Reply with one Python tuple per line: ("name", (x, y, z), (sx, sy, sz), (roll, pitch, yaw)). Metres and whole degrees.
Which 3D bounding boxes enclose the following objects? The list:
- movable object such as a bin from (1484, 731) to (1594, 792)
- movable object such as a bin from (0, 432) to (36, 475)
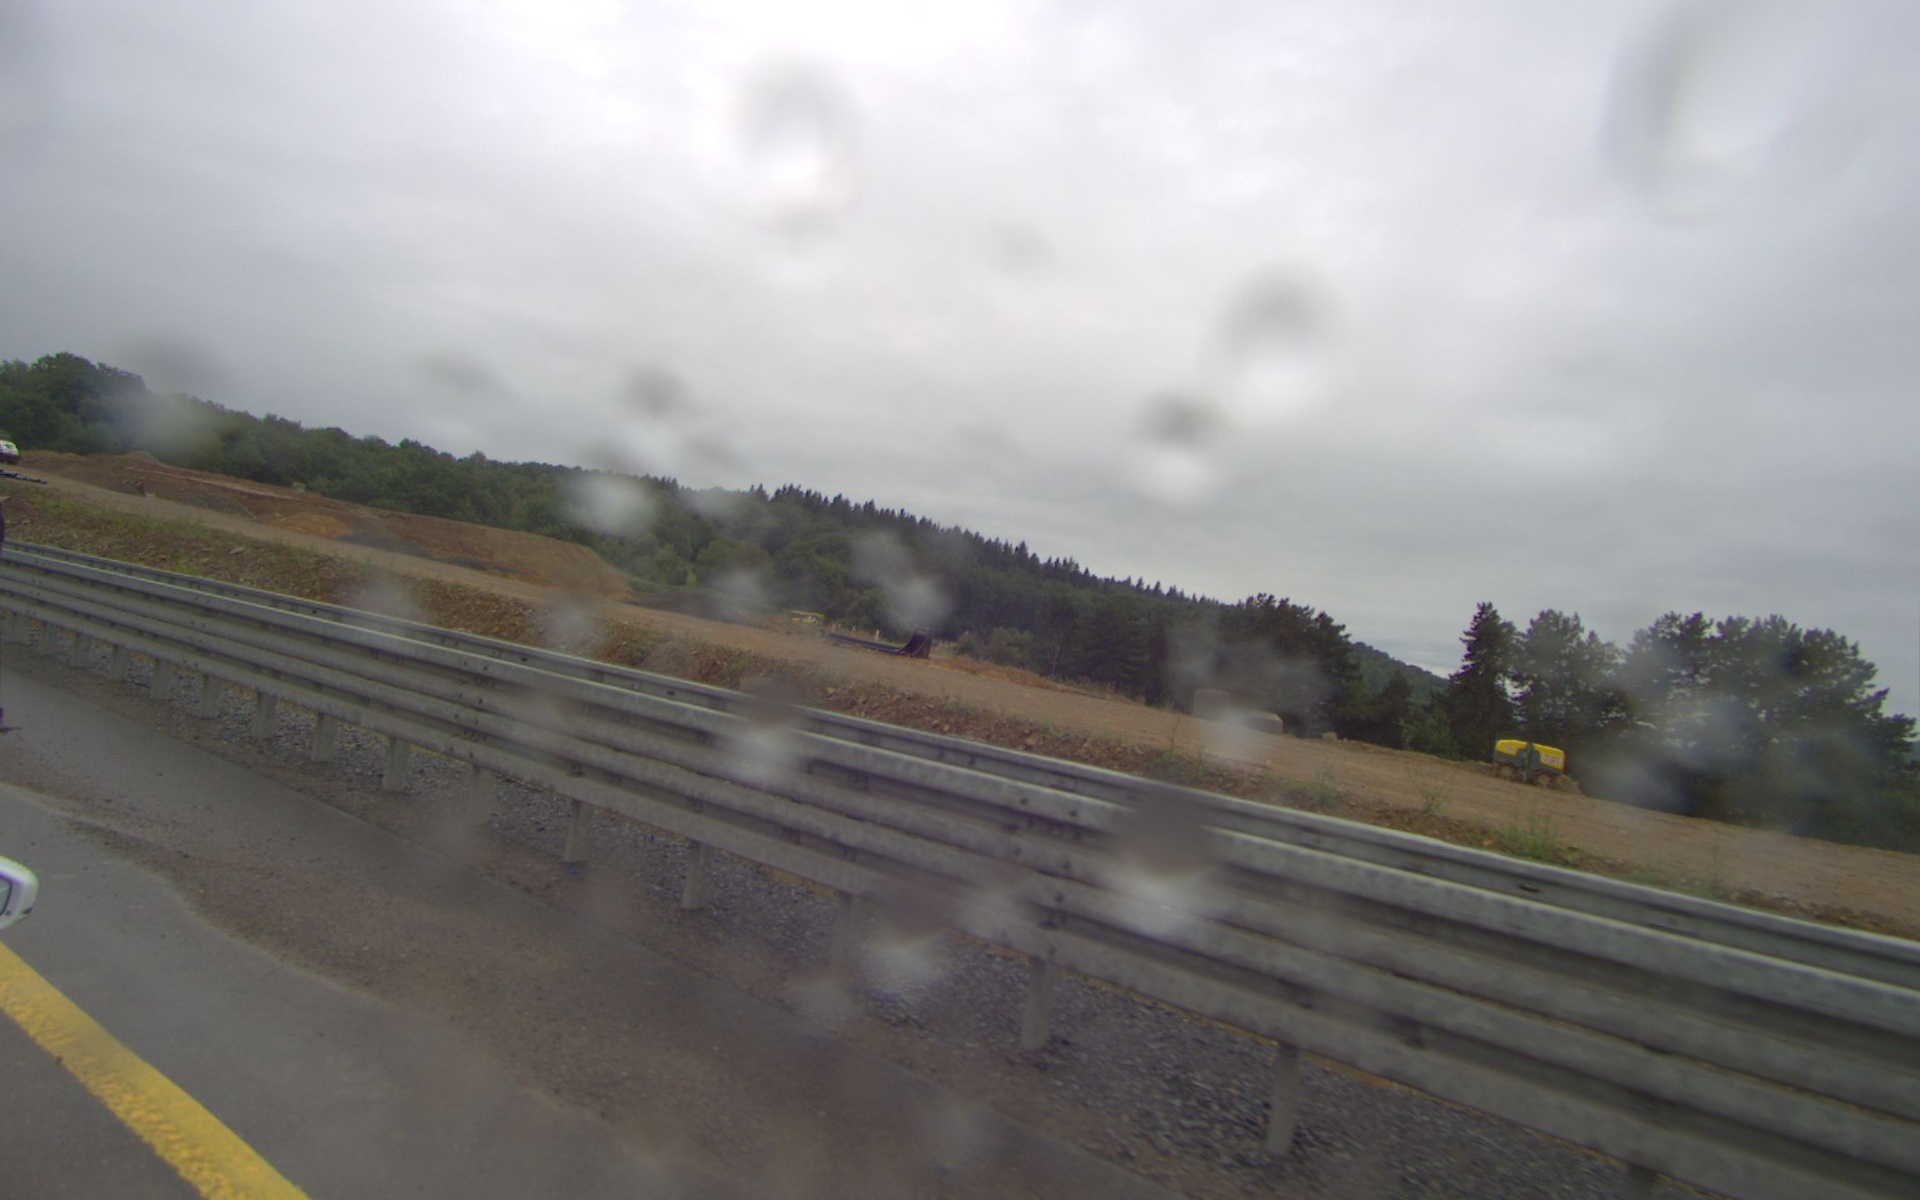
("movable object such as a bin", (17.331, 4.810, 30.222), (2.659, 1.316, 1.392), (7, -2, 27))
("movable object such as a bin", (-92.748, -14.272, 97.488), (6.446, 3.641, 2.347), (7, -1, 28))
